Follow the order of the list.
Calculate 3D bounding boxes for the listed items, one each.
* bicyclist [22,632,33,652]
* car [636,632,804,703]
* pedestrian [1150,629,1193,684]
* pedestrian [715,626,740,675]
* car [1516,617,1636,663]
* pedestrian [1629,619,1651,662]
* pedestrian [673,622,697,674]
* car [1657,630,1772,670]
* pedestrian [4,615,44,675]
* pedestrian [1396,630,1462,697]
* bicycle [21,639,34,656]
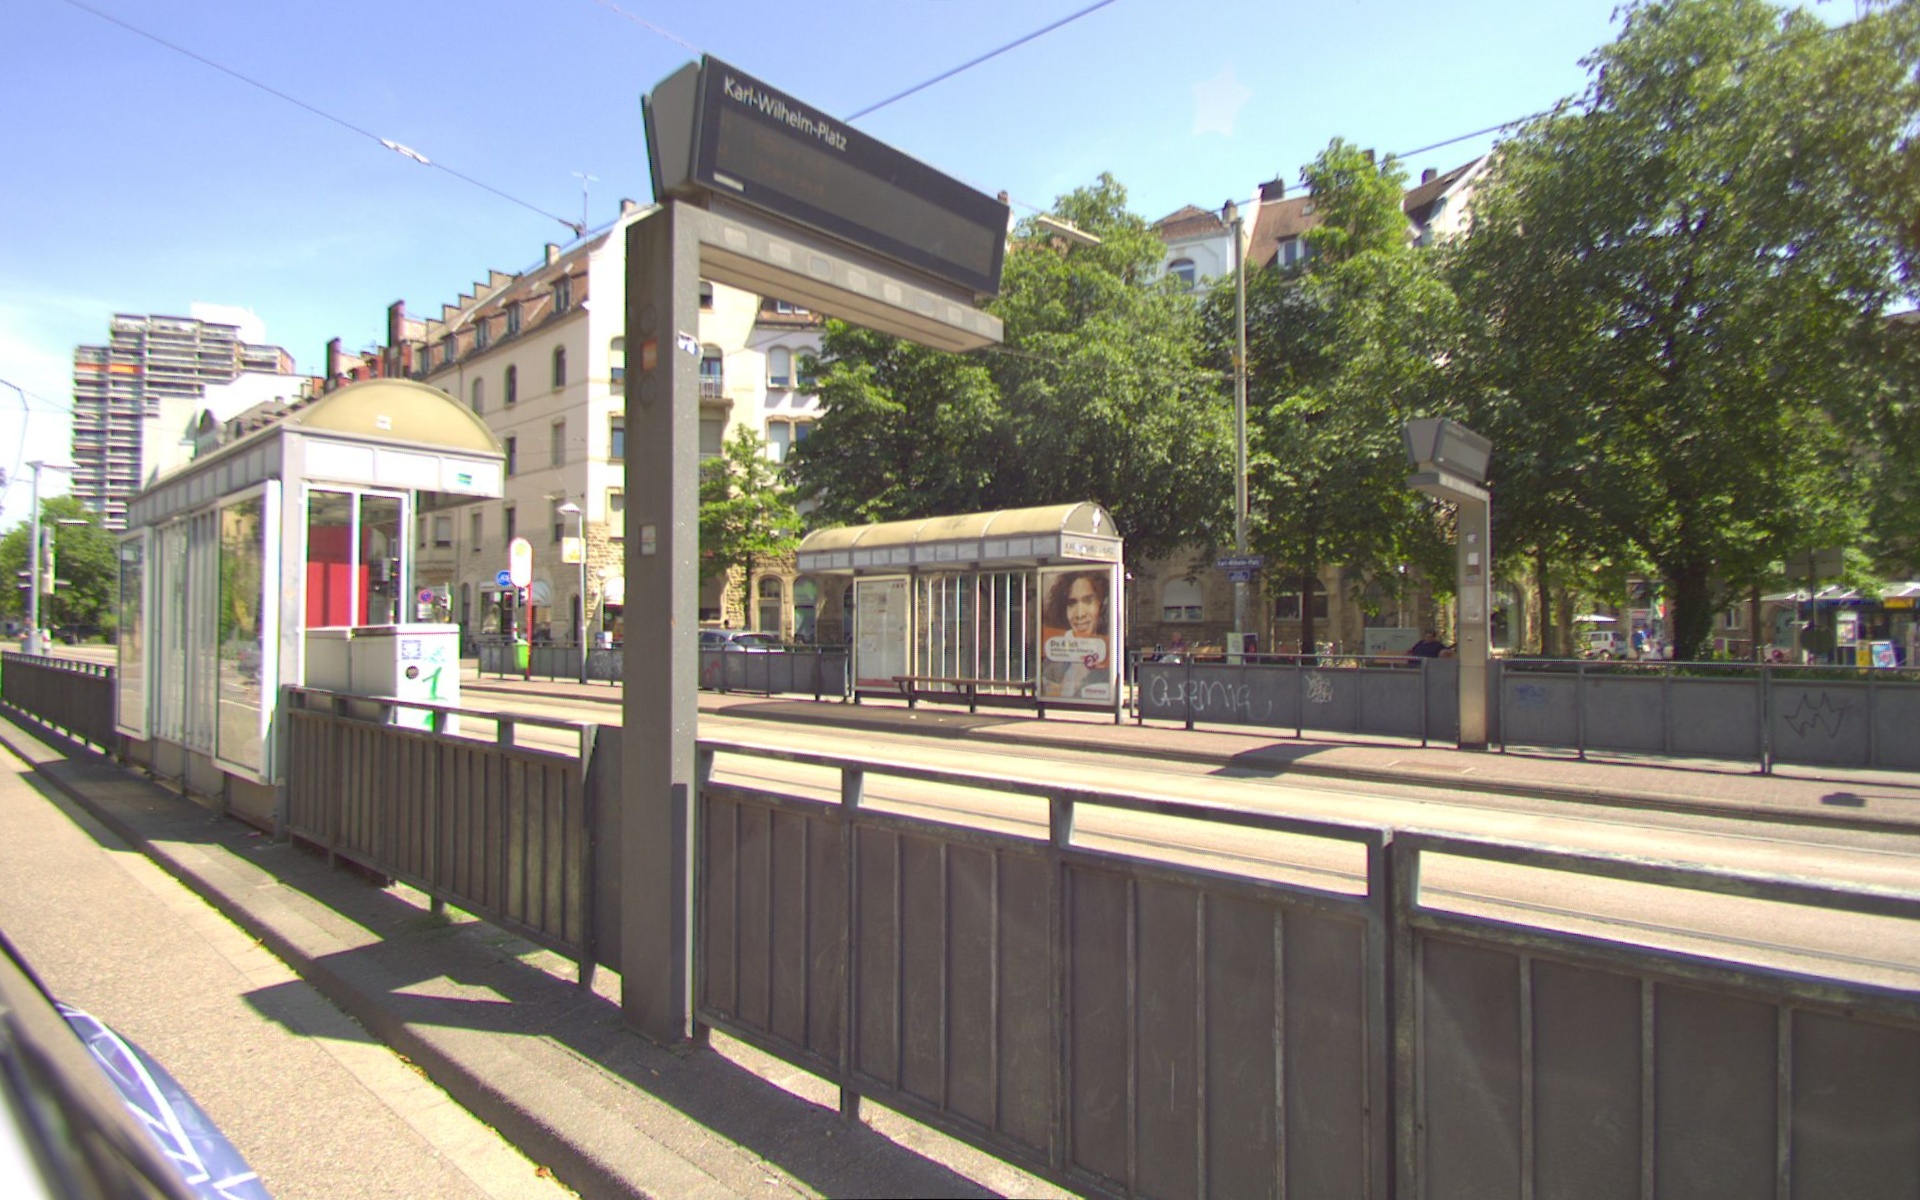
[{"bbox_3d":[-89.245,4.026,96.827,0.715,1.889,0.636,-1,0,39],"label":"bicyclist"},{"bbox_3d":[-5.597,1.485,23.353,3.998,1.404,1.789,-1,0,41],"label":"car"},{"bbox_3d":[5.094,1.351,24.308,0.930,1.253,0.860,-1,0,17],"label":"pedestrian"},{"bbox_3d":[-7.425,1.609,32.347,0.473,1.563,0.586,-2,-3,39],"label":"pedestrian"},{"bbox_3d":[26.718,1.695,44.004,1.966,1.803,4.011,-1,0,-33],"label":"car"},{"bbox_3d":[26.884,1.606,40.027,0.483,1.683,0.517,1,-2,-27],"label":"pedestrian"},{"bbox_3d":[-8.922,1.560,32.820,0.585,1.659,0.475,2,-3,-38],"label":"pedestrian"},{"bbox_3d":[35.787,2.338,48.097,1.736,1.721,3.998,-1,0,-33],"label":"car"},{"bbox_3d":[-29.554,1.418,31.957,0.673,1.837,0.827,-2,-3,43],"label":"pedestrian"},{"bbox_3d":[9.284,1.234,20.033,0.852,1.253,0.939,-1,0,-43],"label":"pedestrian"},{"bbox_3d":[-89.237,4.546,96.836,1.969,1.524,0.636,-1,0,39],"label":"bicycle"}]
